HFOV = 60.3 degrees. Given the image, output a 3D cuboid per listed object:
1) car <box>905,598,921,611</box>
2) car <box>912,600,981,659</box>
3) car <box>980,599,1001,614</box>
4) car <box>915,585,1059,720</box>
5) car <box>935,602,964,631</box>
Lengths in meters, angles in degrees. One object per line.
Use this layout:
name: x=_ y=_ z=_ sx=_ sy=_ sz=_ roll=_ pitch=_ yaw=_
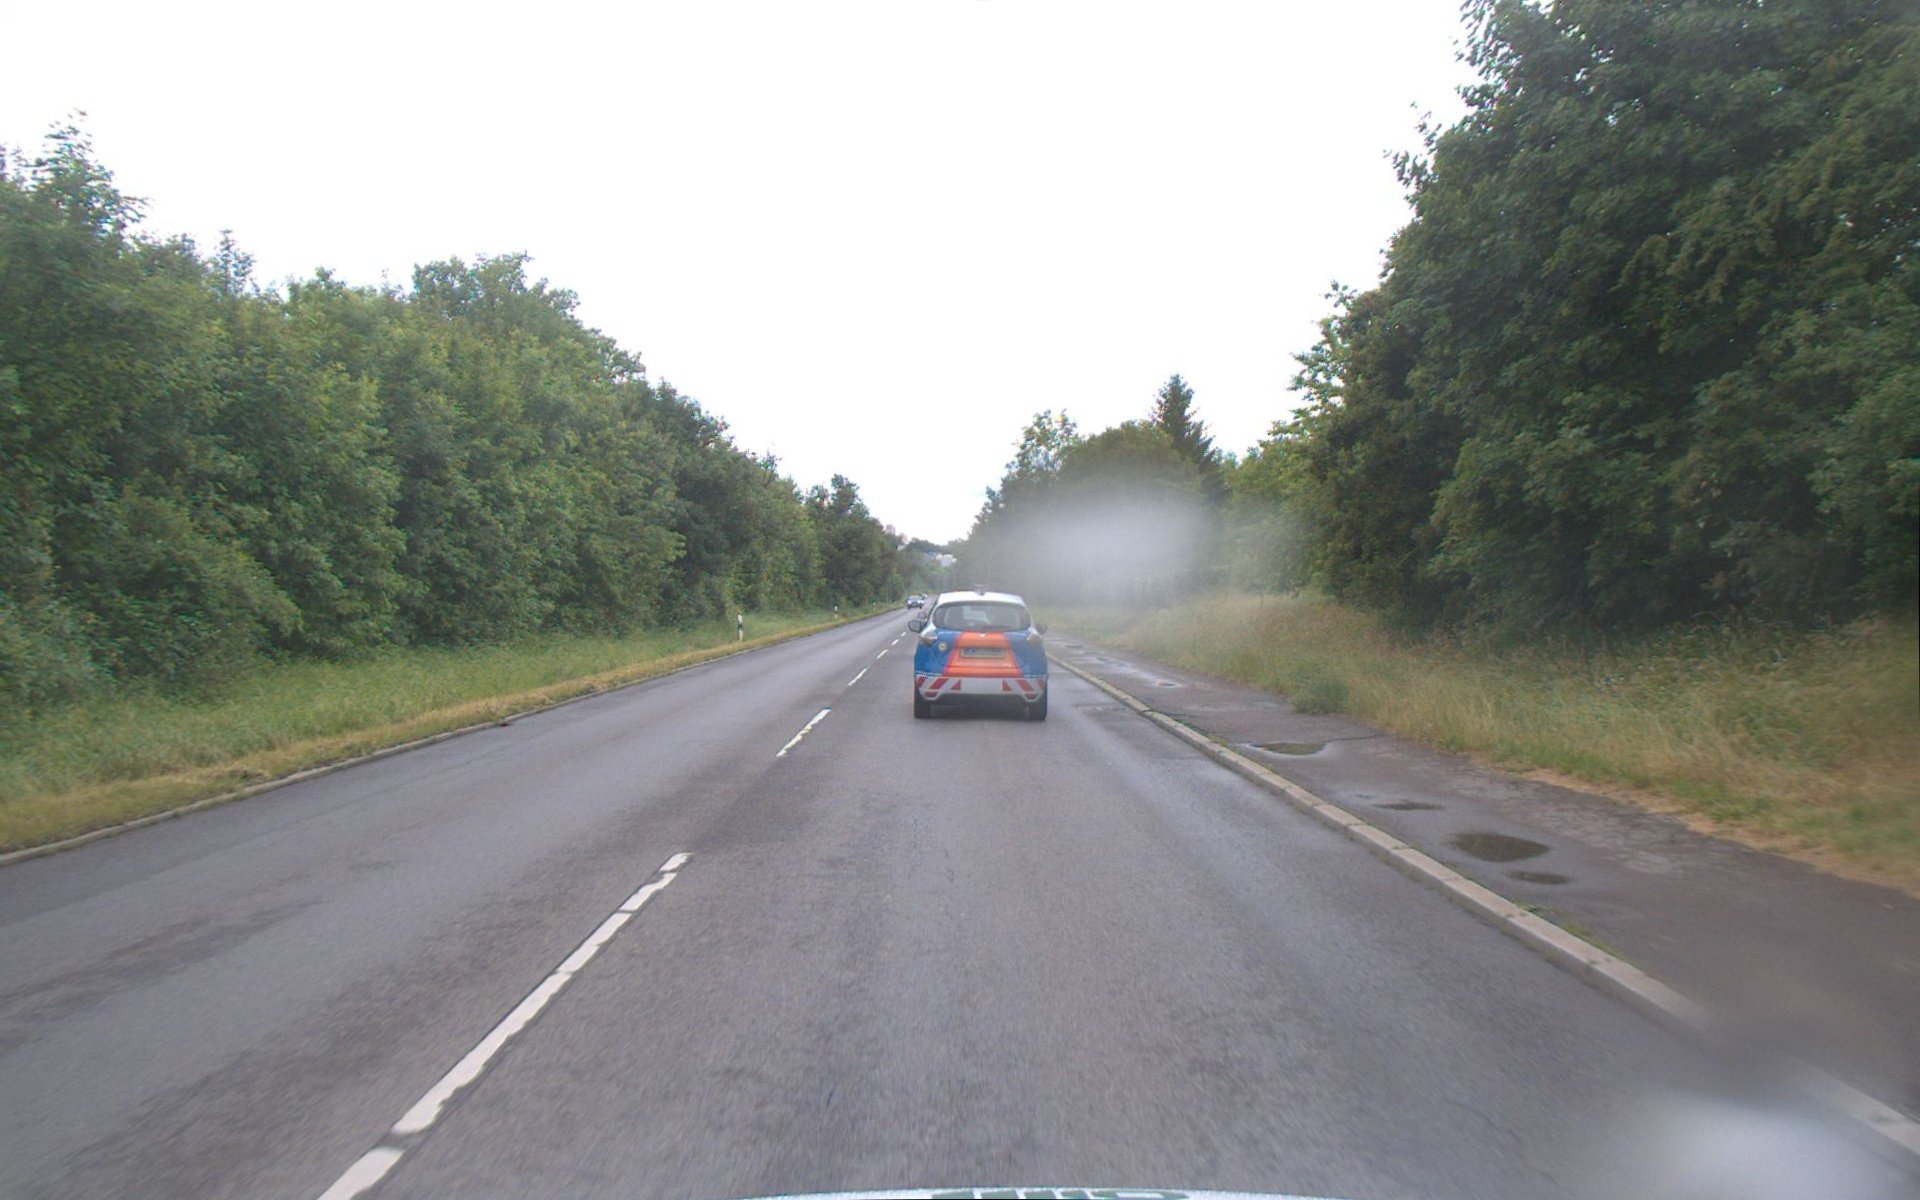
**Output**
car: x=-5.824 y=0.603 z=206.758 sx=1.866 sy=1.584 sz=4.515 roll=-1 pitch=0 yaw=-1
car: x=-0.311 y=0.677 z=39.991 sx=1.566 sy=1.309 sz=3.476 roll=-1 pitch=0 yaw=0
car: x=2.897 y=0.642 z=159.600 sx=1.953 sy=1.400 sz=4.000 roll=-1 pitch=0 yaw=0
car: x=0.306 y=0.612 z=21.745 sx=1.716 sy=1.583 sz=3.792 roll=0 pitch=1 yaw=-1
car: x=-0.665 y=1.050 z=105.723 sx=1.752 sy=1.750 sz=4.000 roll=-1 pitch=0 yaw=0
